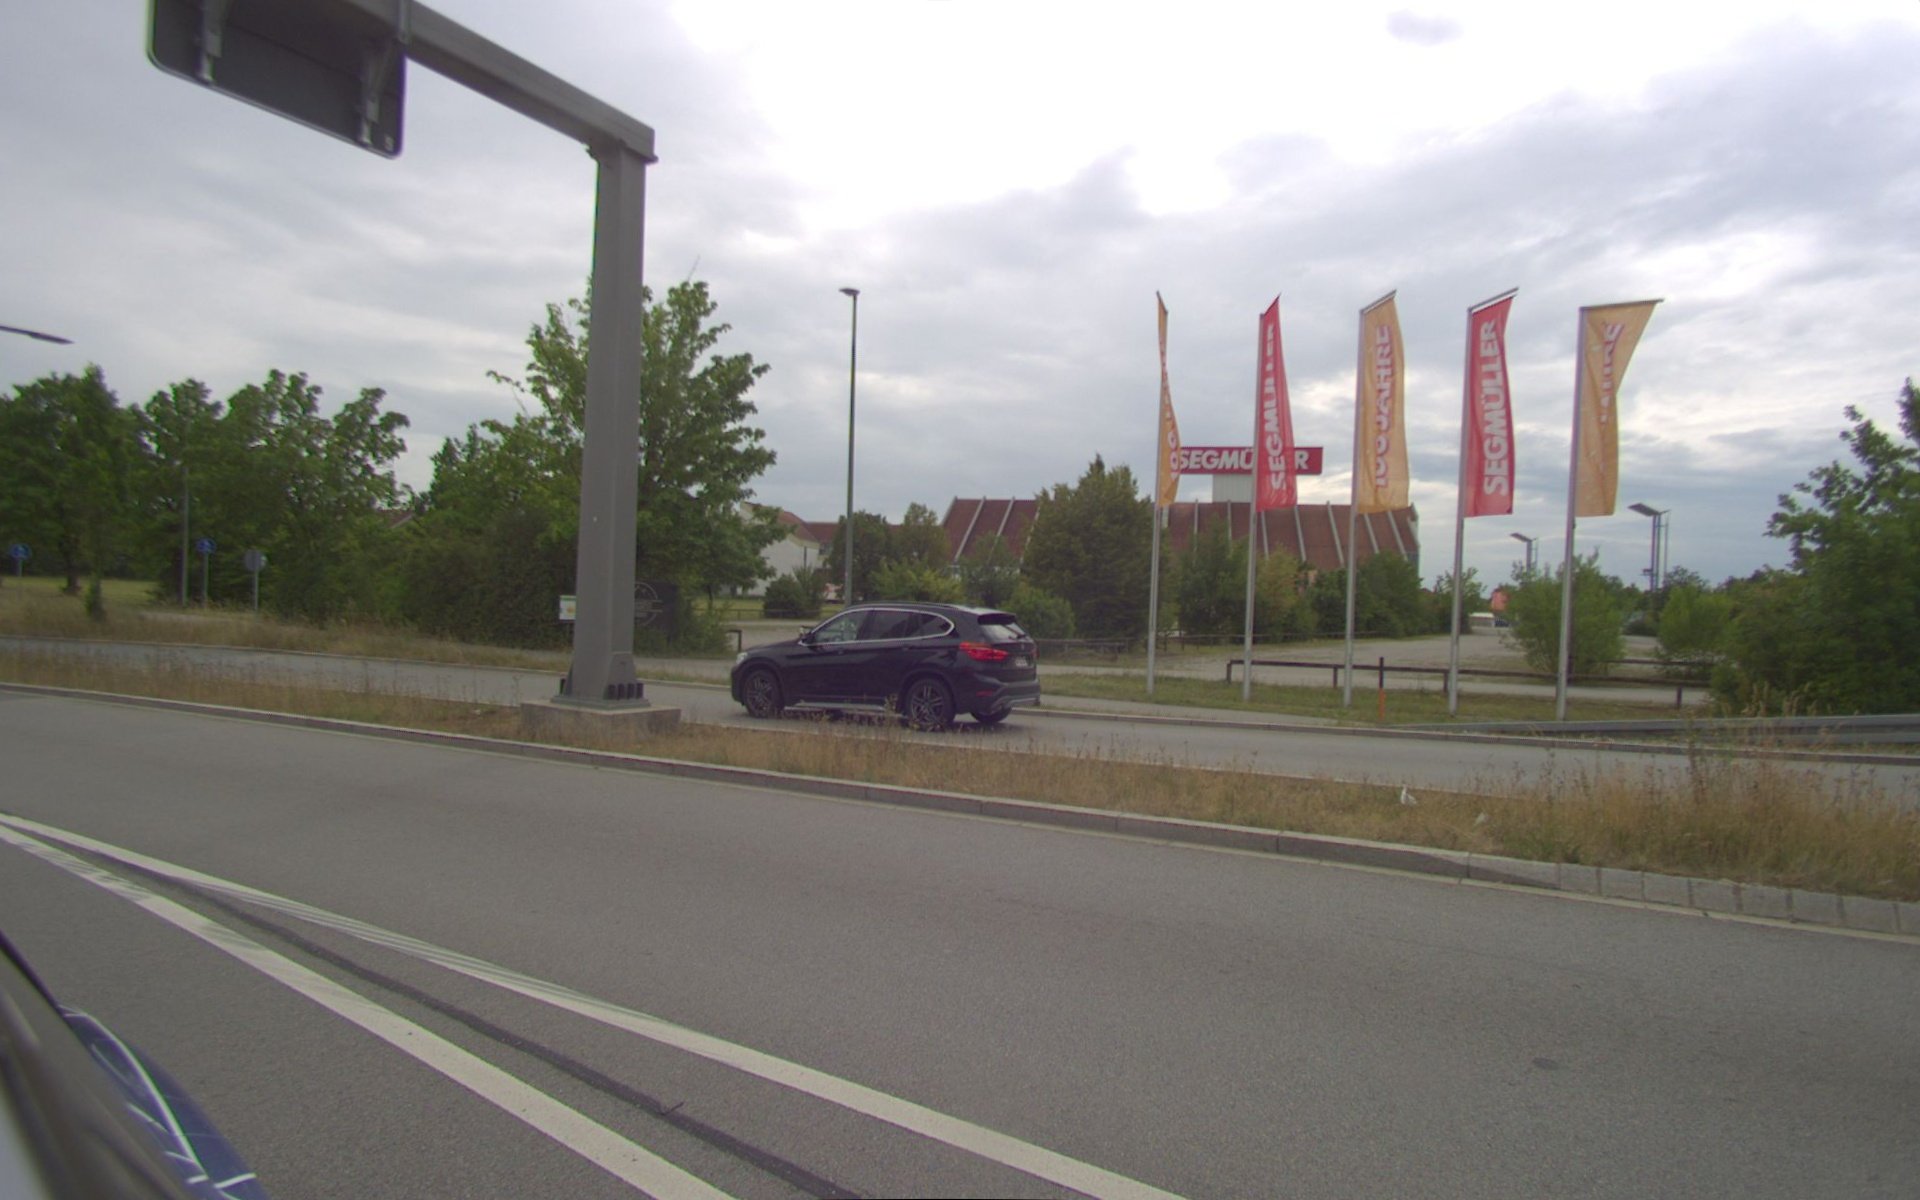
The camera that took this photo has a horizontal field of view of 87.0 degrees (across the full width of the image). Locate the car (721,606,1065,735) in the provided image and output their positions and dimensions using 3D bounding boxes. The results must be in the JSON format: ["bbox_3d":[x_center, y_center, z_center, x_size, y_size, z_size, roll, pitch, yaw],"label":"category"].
[{"bbox_3d":[-0.931,0.847,13.501,4.264,1.478,1.873,0,-2,30],"label":"car"}]
